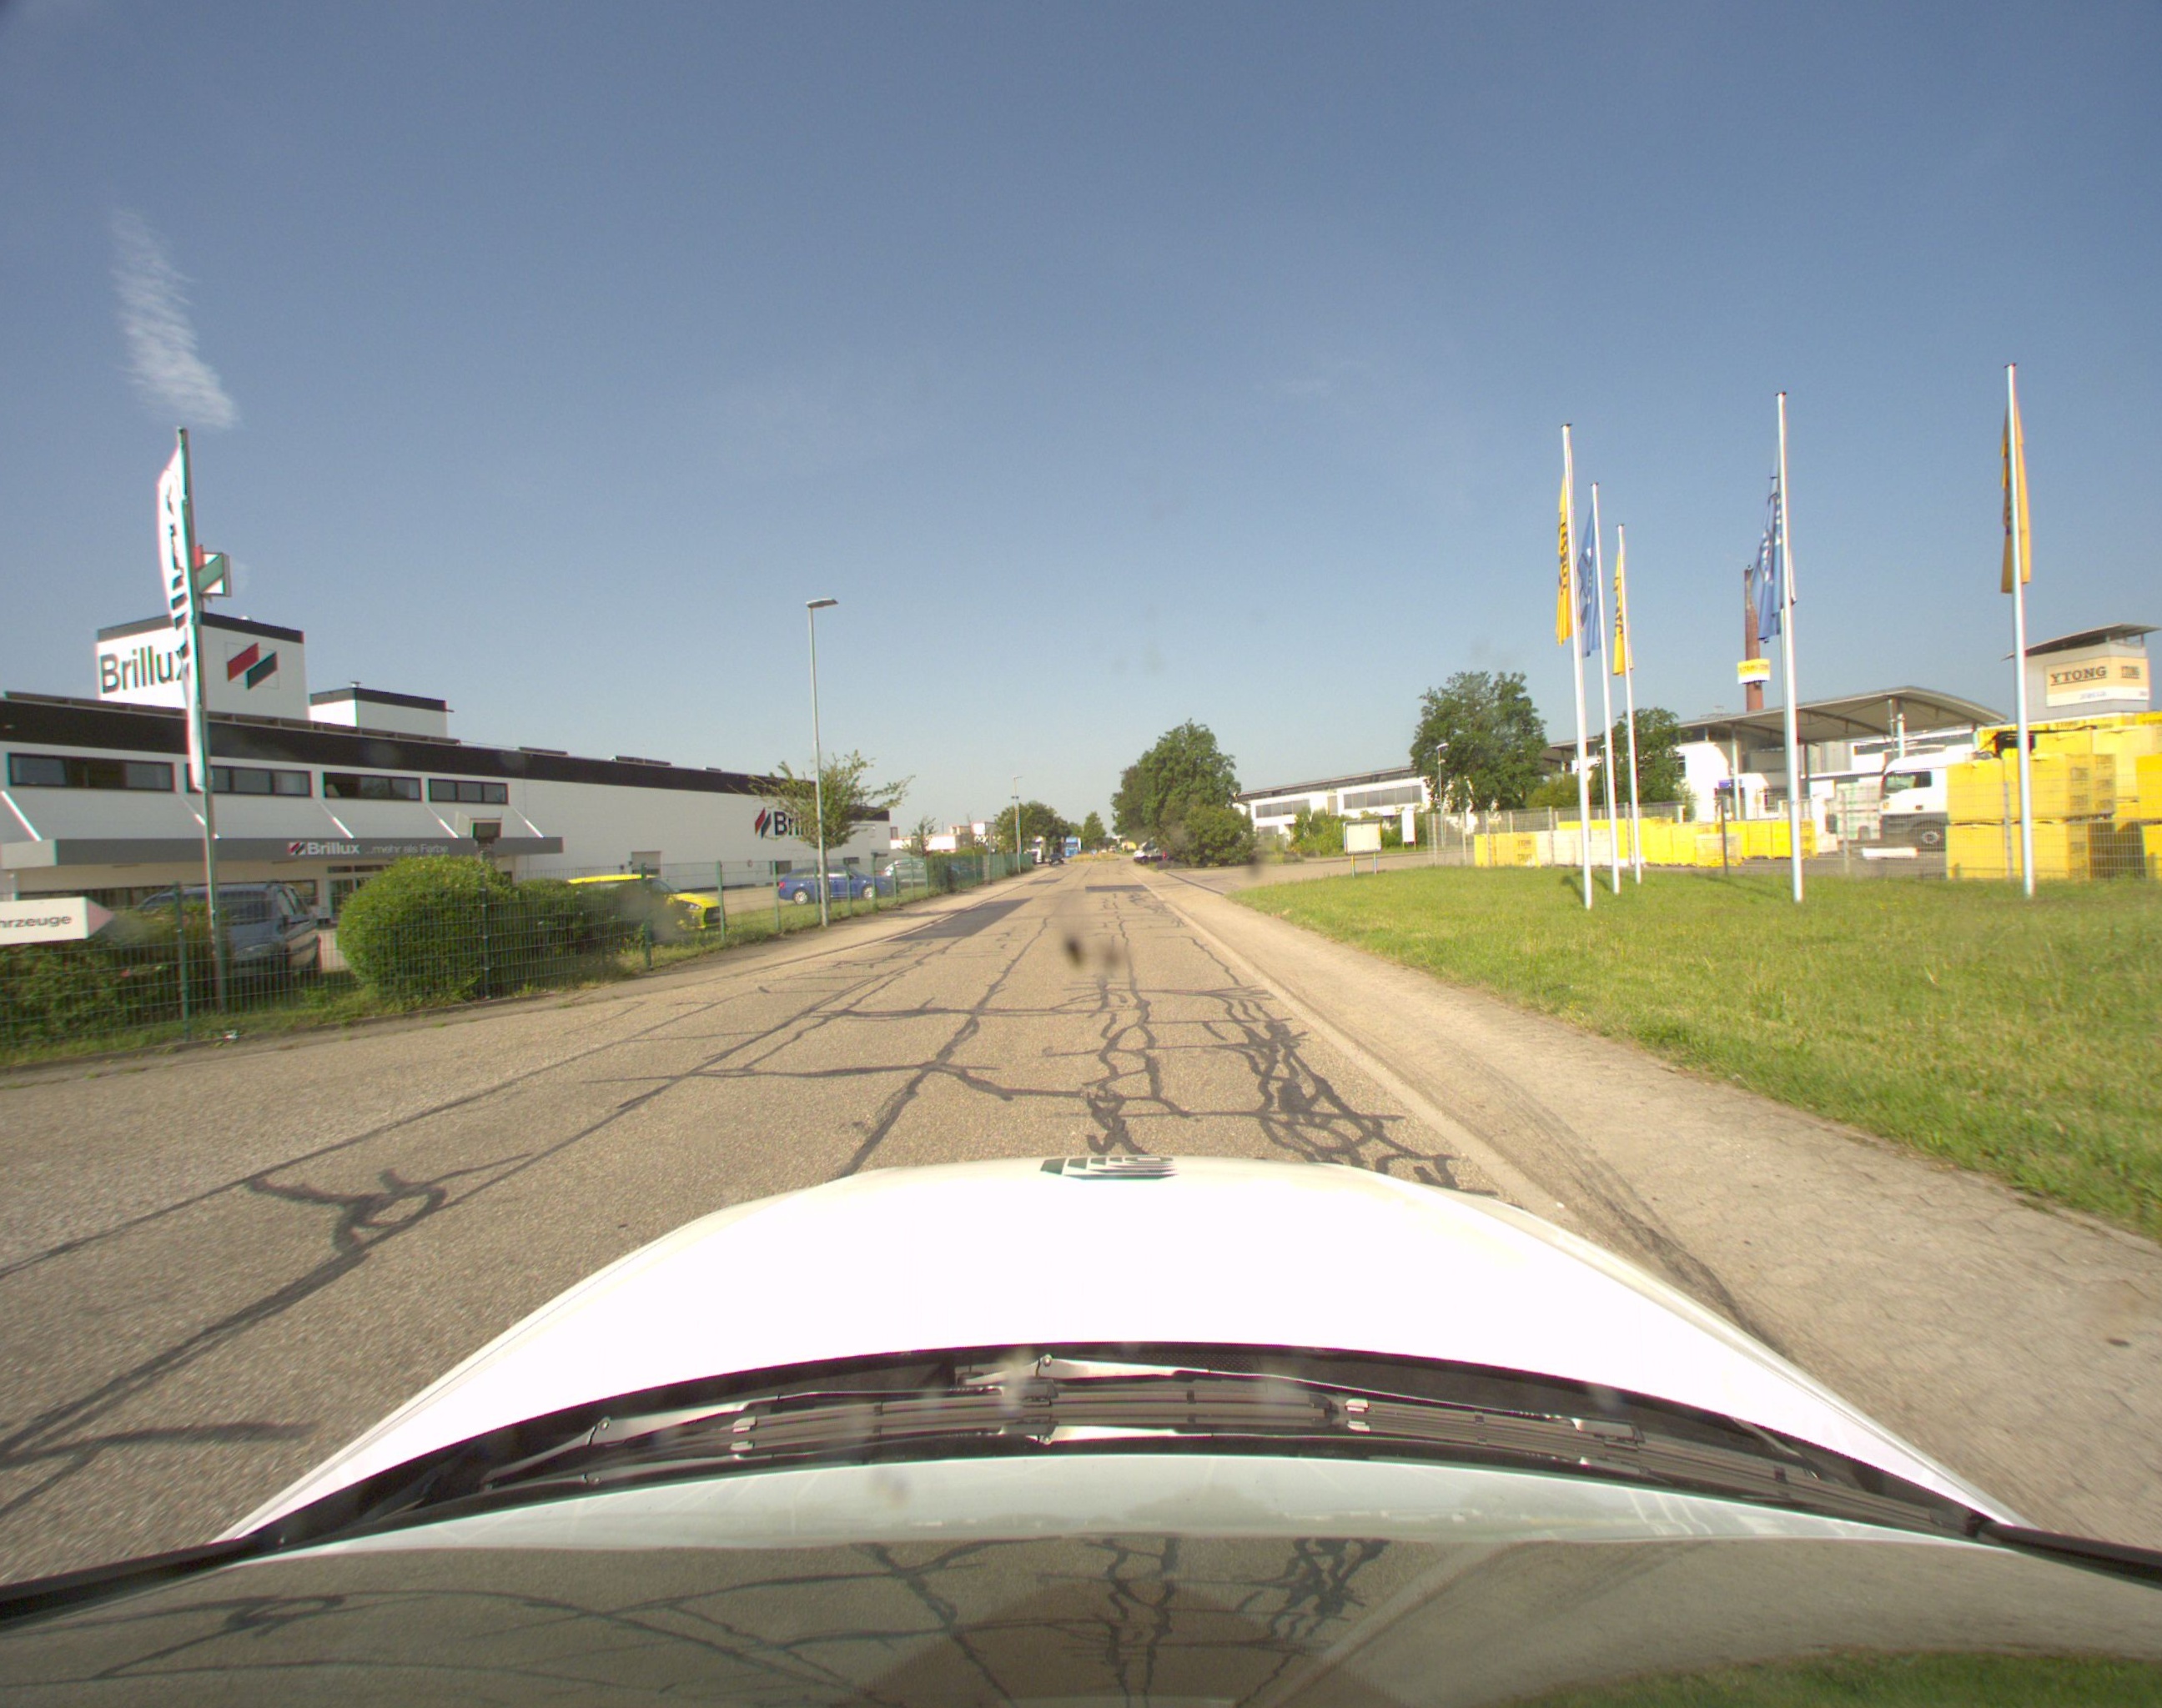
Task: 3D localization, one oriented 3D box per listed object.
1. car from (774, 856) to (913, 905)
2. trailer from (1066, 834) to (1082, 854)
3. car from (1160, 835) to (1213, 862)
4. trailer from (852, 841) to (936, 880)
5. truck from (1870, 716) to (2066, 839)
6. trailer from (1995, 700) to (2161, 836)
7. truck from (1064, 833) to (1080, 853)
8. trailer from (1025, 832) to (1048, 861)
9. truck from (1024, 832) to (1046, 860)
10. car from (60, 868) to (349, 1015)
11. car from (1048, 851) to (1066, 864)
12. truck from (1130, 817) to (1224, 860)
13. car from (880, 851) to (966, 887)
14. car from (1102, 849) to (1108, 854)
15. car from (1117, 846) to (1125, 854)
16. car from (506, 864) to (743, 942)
[{"bbox_3d":[-9.206,0.993,31.838,4.670,1.444,2.078,-5,0,0],"label":"car"},{"bbox_3d":[-1.438,-2.066,169.396,2.821,3.843,12.039,-1,0,1],"label":"trailer"},{"bbox_3d":[8.335,-0.439,64.608,3.971,1.837,2.001,-4,0,2],"label":"car"},{"bbox_3d":[-20.720,0.722,91.790,2.462,4.041,13.951,-2,-1,17],"label":"trailer"},{"bbox_3d":[31.263,-2.545,28.867,2.546,3.876,3.972,-1,-1,-21],"label":"truck"},{"bbox_3d":[33.056,-2.627,23.968,2.486,3.876,7.747,-1,-1,-20],"label":"trailer"},{"bbox_3d":[-1.705,-2.087,159.415,2.815,3.825,9.675,-1,-1,1],"label":"truck"},{"bbox_3d":[-6.451,-1.036,119.434,2.690,3.922,7.576,-1,-1,1],"label":"trailer"},{"bbox_3d":[-6.535,-1.086,115.135,2.699,3.922,4.297,-1,-1,1],"label":"truck"},{"bbox_3d":[-12.599,1.093,12.098,1.966,1.696,4.463,-1,-1,-34],"label":"car"},{"bbox_3d":[-3.041,0.433,102.565,1.987,1.449,4.419,-6,0,0],"label":"car"},{"bbox_3d":[8.803,-1.363,75.245,8.181,3.370,2.741,-4,-1,0],"label":"truck"},{"bbox_3d":[-8.370,0.778,43.395,4.113,1.567,1.865,-5,0,0],"label":"car"},{"bbox_3d":[7.365,-0.765,247.452,1.713,1.660,3.823,-1,-1,0],"label":"car"},{"bbox_3d":[9.837,-0.993,199.932,1.786,1.750,4.000,-1,-1,1],"label":"car"},{"bbox_3d":[-10.088,1.053,18.221,4.148,1.368,1.869,-4,0,2],"label":"car"}]
